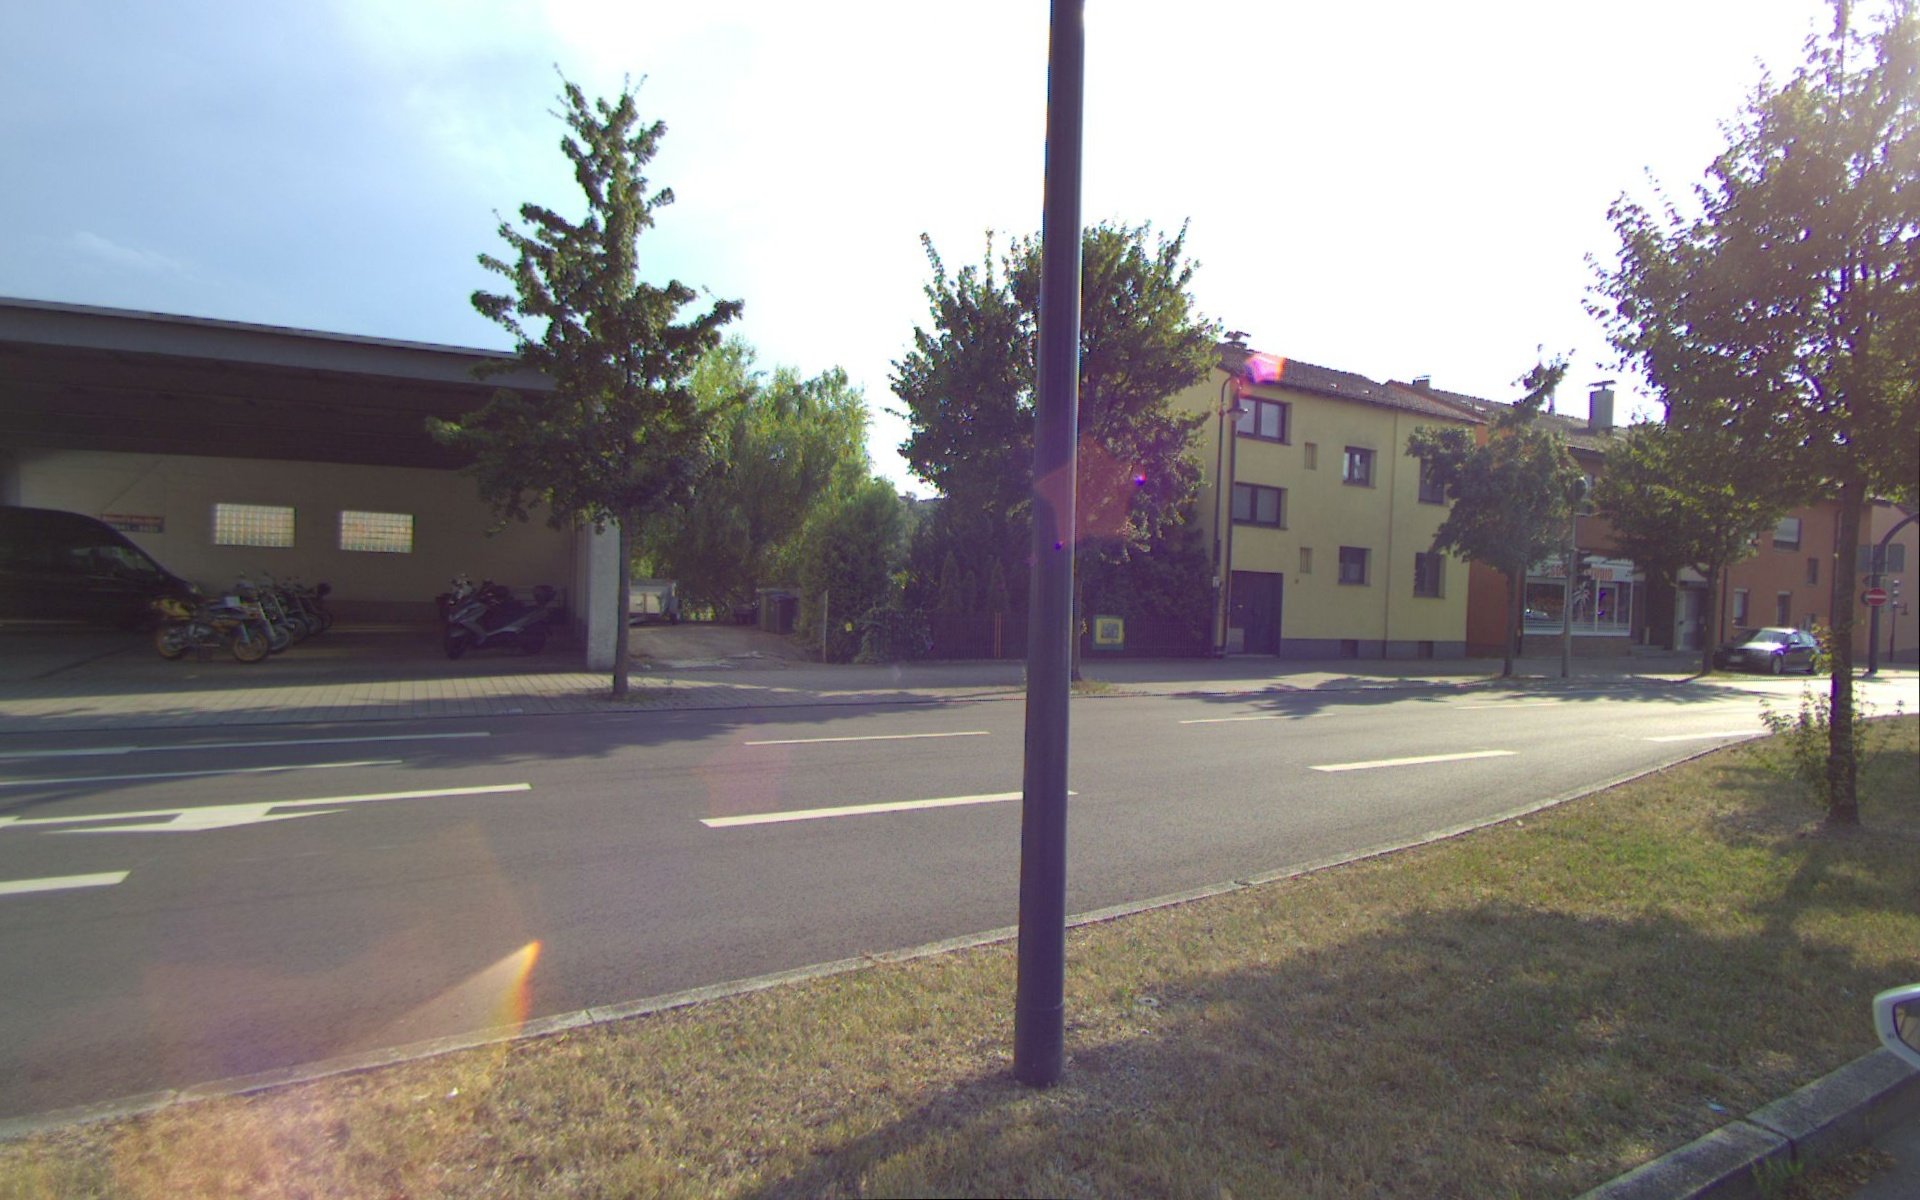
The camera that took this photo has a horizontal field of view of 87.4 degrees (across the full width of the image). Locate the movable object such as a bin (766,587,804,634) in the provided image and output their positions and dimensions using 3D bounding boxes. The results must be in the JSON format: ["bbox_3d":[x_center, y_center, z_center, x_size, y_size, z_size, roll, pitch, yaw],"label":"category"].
[{"bbox_3d":[-4.337,0.267,24.817,0.688,1.101,0.727,1,3,-30],"label":"movable object such as a bin"}]

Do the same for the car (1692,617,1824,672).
[{"bbox_3d":[25.907,1.436,32.600,3.949,1.573,1.836,1,2,-27],"label":"car"}]

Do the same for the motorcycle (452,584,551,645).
[{"bbox_3d":[-10.475,0.337,23.045,0.612,1.325,2.086,1,0,30],"label":"motorcycle"}]

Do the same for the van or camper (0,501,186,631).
[{"bbox_3d":[-20.467,-0.719,22.121,1.963,2.716,5.032,1,0,27],"label":"van or camper"}]

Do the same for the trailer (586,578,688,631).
[{"bbox_3d":[-8.112,0.066,25.523,1.692,1.199,3.594,1,1,-5],"label":"trailer"}]

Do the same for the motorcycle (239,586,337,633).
[{"bbox_3d":[-17.065,0.234,25.524,2.111,1.138,0.563,1,0,0],"label":"motorcycle"}]

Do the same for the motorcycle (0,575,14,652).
[{"bbox_3d":[-17.237,0.219,16.768,0.637,1.329,2.007,1,0,23],"label":"motorcycle"}]

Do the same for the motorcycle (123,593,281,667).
[{"bbox_3d":[-12.505,0.490,16.596,2.111,1.139,0.631,1,0,0],"label":"motorcycle"}]

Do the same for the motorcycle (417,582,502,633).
[{"bbox_3d":[-13.507,0.204,27.167,0.553,1.325,2.086,1,0,30],"label":"motorcycle"}]

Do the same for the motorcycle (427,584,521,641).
[{"bbox_3d":[-11.798,0.310,24.457,0.573,1.325,2.086,1,0,30],"label":"motorcycle"}]

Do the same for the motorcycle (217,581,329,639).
[{"bbox_3d":[-15.828,0.223,23.176,2.111,1.275,0.647,1,0,0],"label":"motorcycle"}]

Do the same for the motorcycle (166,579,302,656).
[{"bbox_3d":[-13.542,0.323,18.774,2.111,1.347,0.563,1,0,0],"label":"motorcycle"}]

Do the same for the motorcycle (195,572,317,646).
[{"bbox_3d":[-14.706,0.188,21.006,2.111,1.468,0.594,1,0,0],"label":"motorcycle"}]

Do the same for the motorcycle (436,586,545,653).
[{"bbox_3d":[-9.663,0.394,20.778,0.553,1.325,2.086,1,0,30],"label":"motorcycle"}]

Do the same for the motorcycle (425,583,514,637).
[{"bbox_3d":[-12.565,0.270,25.800,0.553,1.325,2.086,1,0,30],"label":"motorcycle"}]

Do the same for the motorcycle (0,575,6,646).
[{"bbox_3d":[-18.632,0.185,18.096,0.637,1.329,2.007,1,0,23],"label":"motorcycle"}]

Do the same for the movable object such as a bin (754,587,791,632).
[{"bbox_3d":[-4.778,0.238,25.589,0.712,1.101,0.727,1,3,-30],"label":"movable object such as a bin"}]

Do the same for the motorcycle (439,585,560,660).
[{"bbox_3d":[-8.624,0.418,18.918,0.553,1.325,2.112,1,0,30],"label":"motorcycle"}]
